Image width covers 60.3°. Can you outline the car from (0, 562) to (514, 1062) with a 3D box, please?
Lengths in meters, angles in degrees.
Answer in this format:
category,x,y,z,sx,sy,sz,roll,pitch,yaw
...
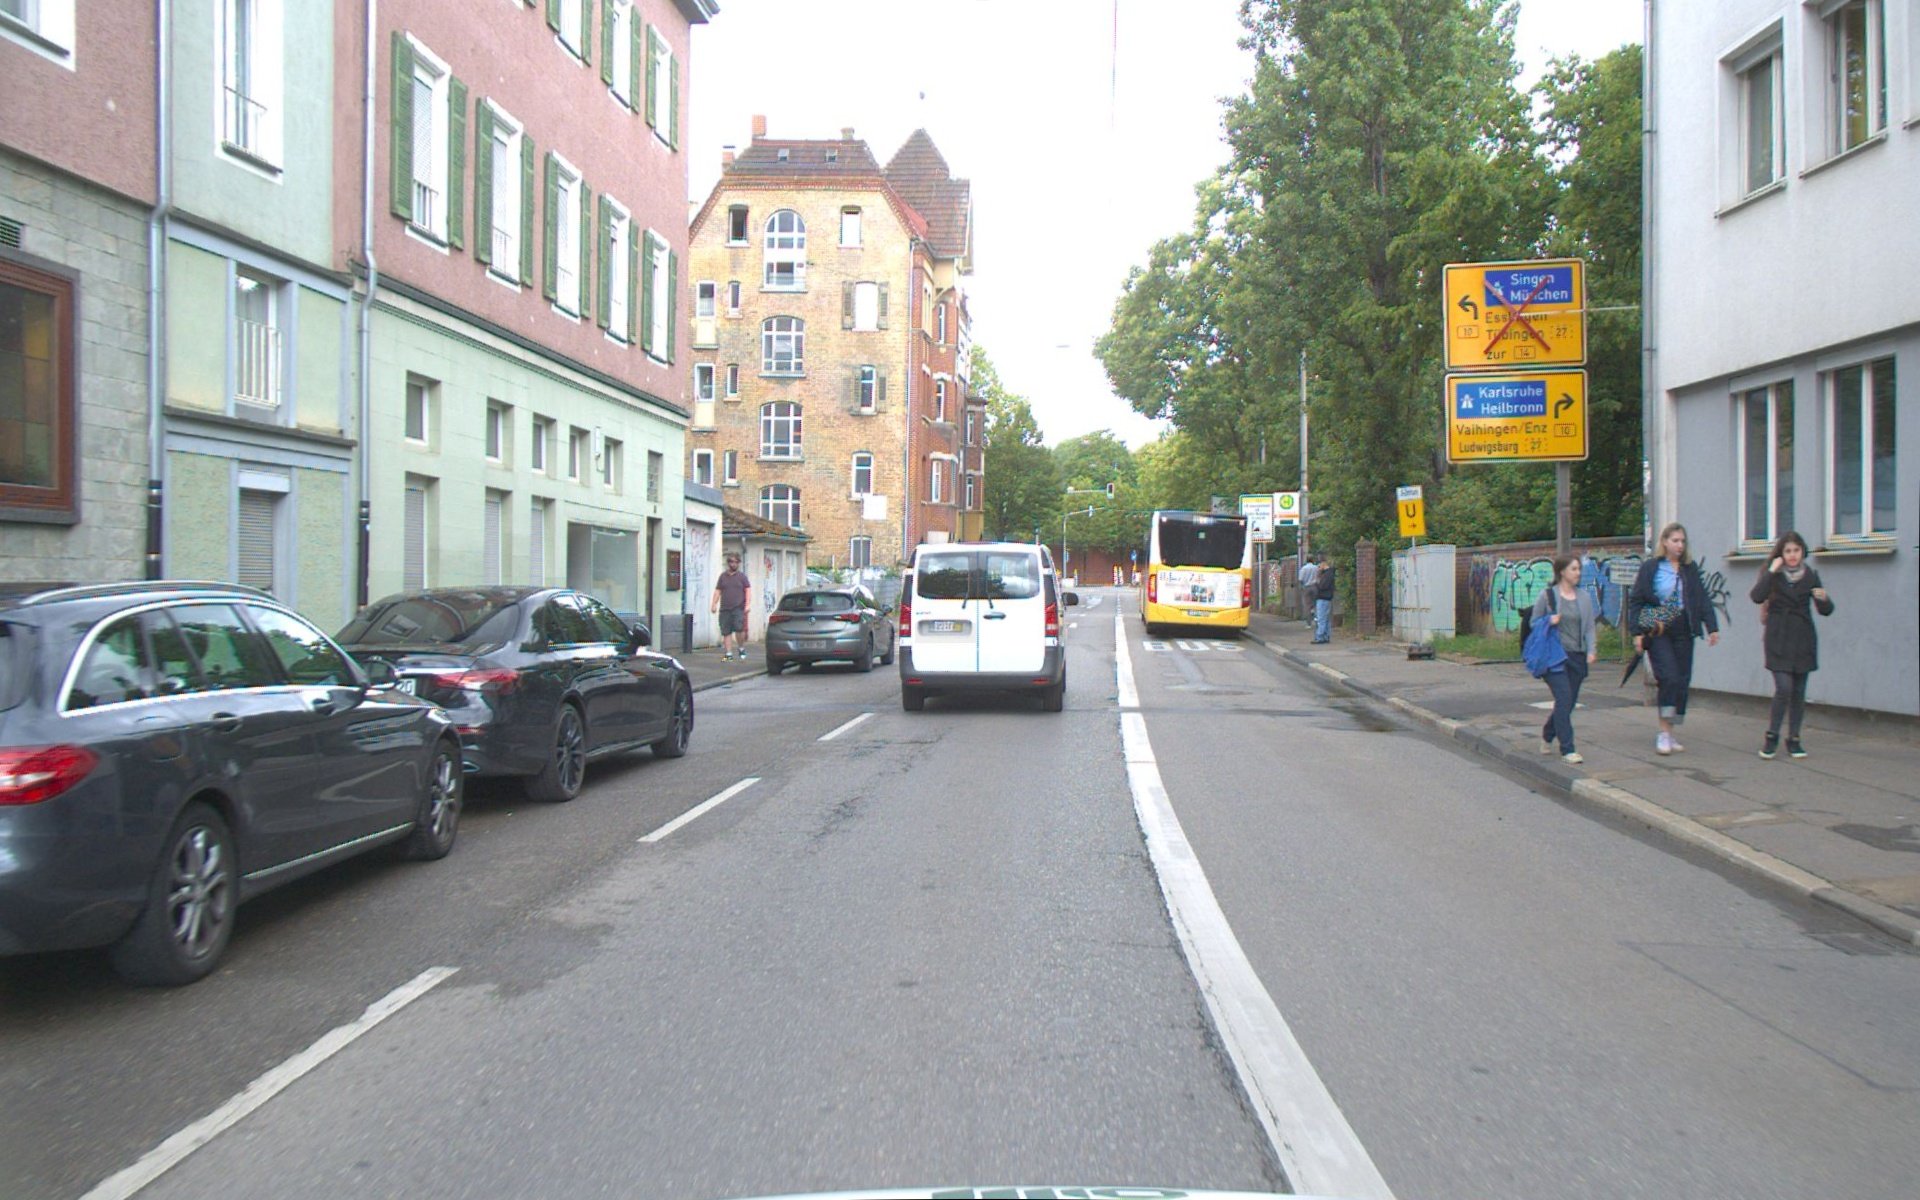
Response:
category,x,y,z,sx,sy,sz,roll,pitch,yaw
car,-3.509,0.627,7.205,1.791,1.480,4.585,0,0,1

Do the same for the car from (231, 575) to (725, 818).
category,x,y,z,sx,sy,sz,roll,pitch,yaw
car,-3.327,0.586,12.608,1.790,1.480,4.925,0,0,7

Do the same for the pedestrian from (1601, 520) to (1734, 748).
category,x,y,z,sx,sy,sz,roll,pitch,yaw
pedestrian,5.818,0.259,13.640,0.673,1.787,0.878,-2,1,-1

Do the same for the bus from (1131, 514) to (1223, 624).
category,x,y,z,sx,sy,sz,roll,pitch,yaw
bus,7.002,-0.994,54.316,2.615,3.193,9.224,2,1,6

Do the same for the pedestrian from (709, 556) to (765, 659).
category,x,y,z,sx,sy,sz,roll,pitch,yaw
pedestrian,-3.932,0.129,29.267,0.745,1.774,0.985,2,0,3

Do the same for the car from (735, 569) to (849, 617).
category,x,y,z,sx,sy,sz,roll,pitch,yaw
car,-5.713,-0.250,56.542,3.520,1.530,1.855,-1,0,6

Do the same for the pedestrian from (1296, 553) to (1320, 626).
category,x,y,z,sx,sy,sz,roll,pitch,yaw
pedestrian,8.798,-0.268,41.802,0.441,1.810,0.672,-3,0,5

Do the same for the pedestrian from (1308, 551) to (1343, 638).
category,x,y,z,sx,sy,sz,roll,pitch,yaw
pedestrian,7.750,-0.115,35.100,0.569,1.810,0.822,2,0,5

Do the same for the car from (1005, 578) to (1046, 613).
category,x,y,z,sx,sy,sz,roll,pitch,yaw
car,3.273,-0.238,82.509,1.688,1.511,4.394,1,3,7

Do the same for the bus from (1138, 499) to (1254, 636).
category,x,y,z,sx,sy,sz,roll,pitch,yaw
bus,6.191,-0.853,44.684,2.606,3.190,10.047,2,1,6

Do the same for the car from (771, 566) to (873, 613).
category,x,y,z,sx,sy,sz,roll,pitch,yaw
car,-5.122,-0.409,61.707,3.520,1.640,1.690,-1,0,6

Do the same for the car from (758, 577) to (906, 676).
category,x,y,z,sx,sy,sz,roll,pitch,yaw
car,-2.137,0.404,28.800,1.838,1.512,4.130,2,1,5

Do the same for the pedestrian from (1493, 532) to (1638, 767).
category,x,y,z,sx,sy,sz,roll,pitch,yaw
pedestrian,4.951,0.379,13.570,0.787,1.825,0.942,-2,1,-1

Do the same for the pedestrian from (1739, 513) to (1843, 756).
category,x,y,z,sx,sy,sz,roll,pitch,yaw
pedestrian,6.301,0.248,12.566,0.531,1.787,0.609,-2,1,12

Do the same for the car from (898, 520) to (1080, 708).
category,x,y,z,sx,sy,sz,roll,pitch,yaw
car,0.435,0.195,20.130,1.877,1.935,4.703,3,-1,3
